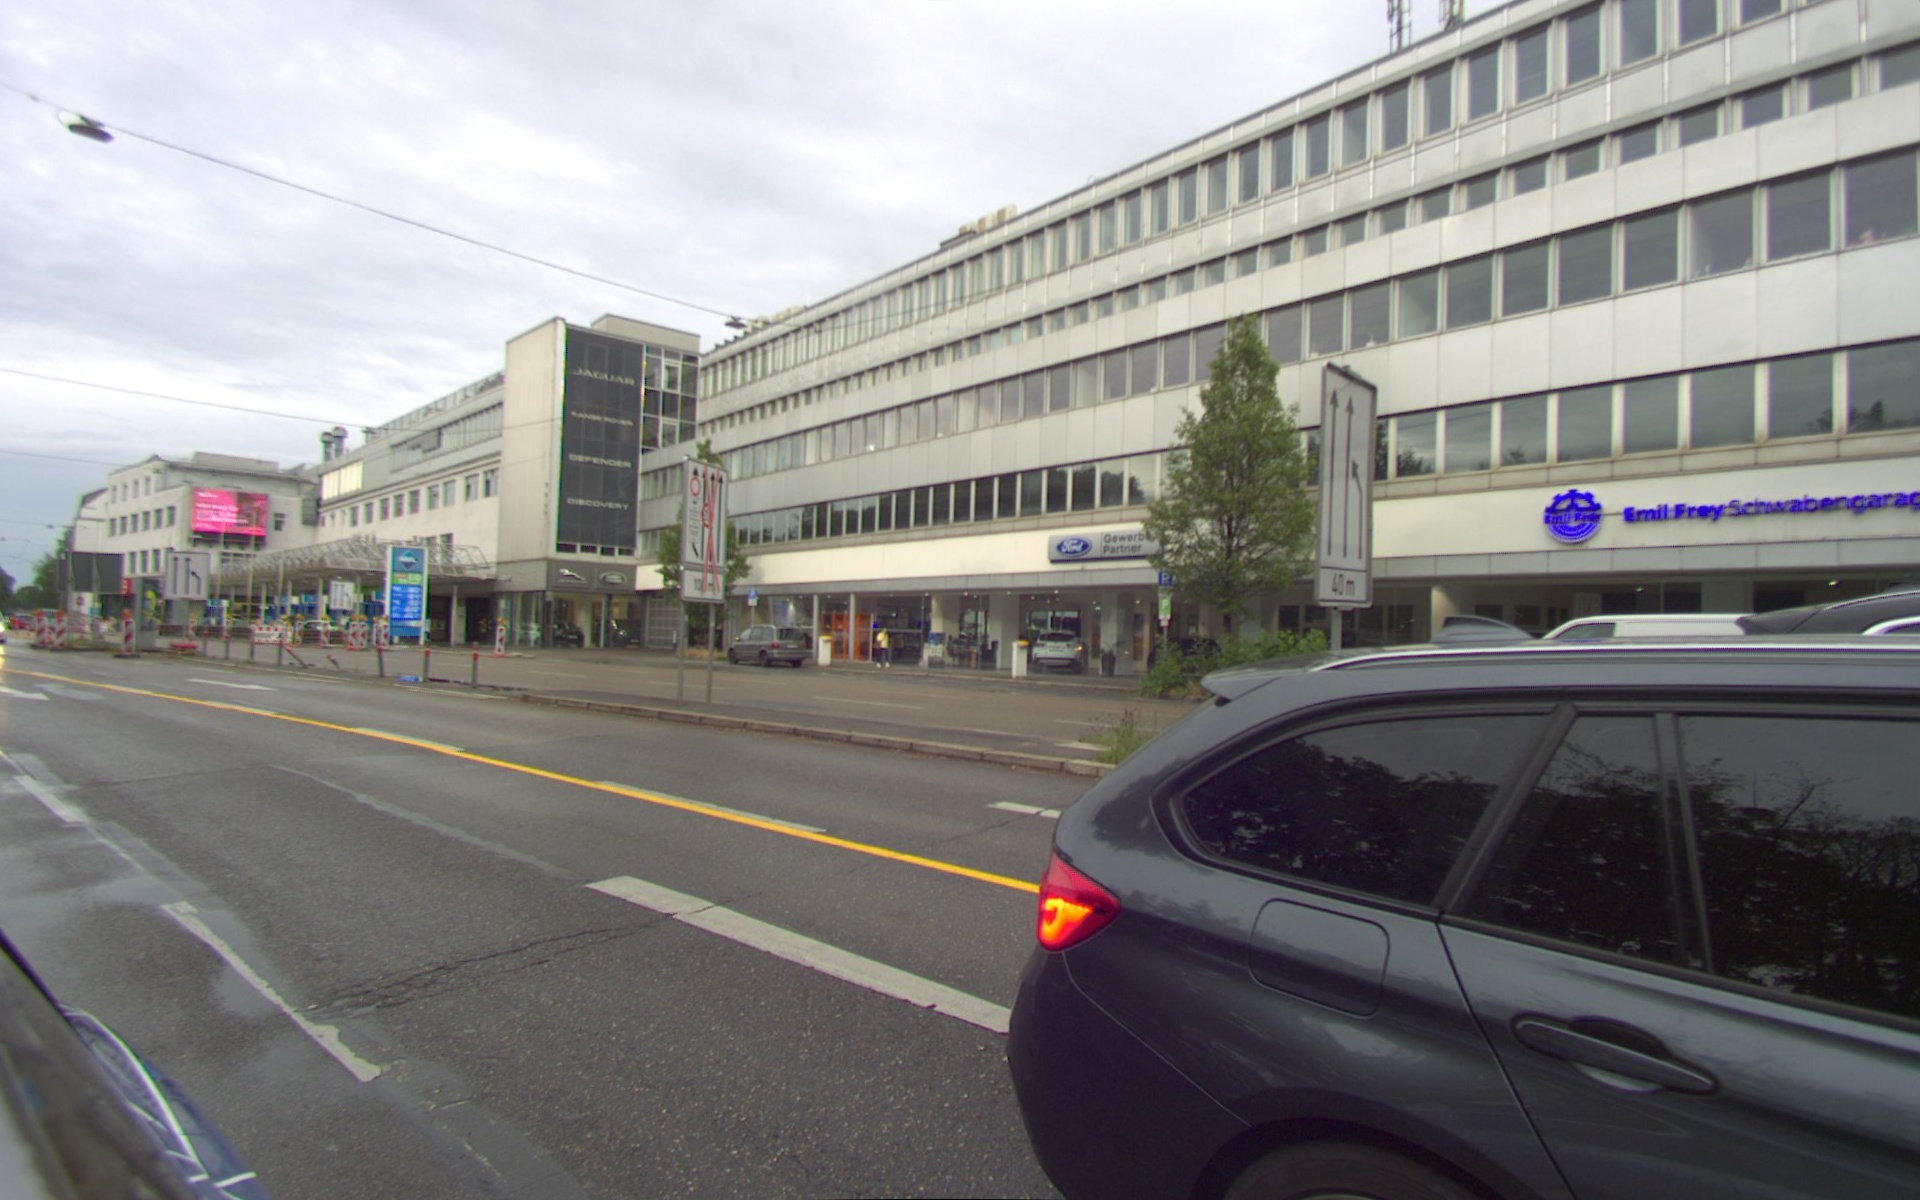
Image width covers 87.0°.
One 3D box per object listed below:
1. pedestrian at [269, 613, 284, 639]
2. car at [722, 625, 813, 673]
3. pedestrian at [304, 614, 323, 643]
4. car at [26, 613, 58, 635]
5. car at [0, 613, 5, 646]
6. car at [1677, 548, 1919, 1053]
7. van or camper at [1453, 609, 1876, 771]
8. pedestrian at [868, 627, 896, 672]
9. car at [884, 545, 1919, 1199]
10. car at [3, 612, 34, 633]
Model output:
[{"bbox_3d":[-48.756,1.842,72.175,0.881,1.828,0.943,-1,0,-35],"label":"pedestrian"},{"bbox_3d":[-8.271,2.043,43.302,1.895,1.829,4.169,-1,0,-44],"label":"car"},{"bbox_3d":[-42.414,1.863,66.398,0.882,1.828,0.942,-1,0,-45],"label":"pedestrian"},{"bbox_3d":[-73.561,1.910,81.103,3.378,1.657,1.587,-1,0,42],"label":"car"},{"bbox_3d":[-43.540,1.314,44.758,4.335,1.425,1.746,-1,0,45],"label":"car"},{"bbox_3d":[4.914,0.639,2.909,4.445,1.668,1.789,-1,0,44],"label":"car"},{"bbox_3d":[9.861,1.138,14.477,1.913,1.938,4.688,3,-3,-44],"label":"van or camper"},{"bbox_3d":[-3.170,1.993,41.289,0.750,1.788,0.865,-1,0,-42],"label":"pedestrian"},{"bbox_3d":[2.082,0.698,1.360,4.476,1.469,1.757,-1,-3,42],"label":"car"},{"bbox_3d":[-84.377,1.988,90.689,3.727,1.777,1.775,-1,0,42],"label":"car"}]
